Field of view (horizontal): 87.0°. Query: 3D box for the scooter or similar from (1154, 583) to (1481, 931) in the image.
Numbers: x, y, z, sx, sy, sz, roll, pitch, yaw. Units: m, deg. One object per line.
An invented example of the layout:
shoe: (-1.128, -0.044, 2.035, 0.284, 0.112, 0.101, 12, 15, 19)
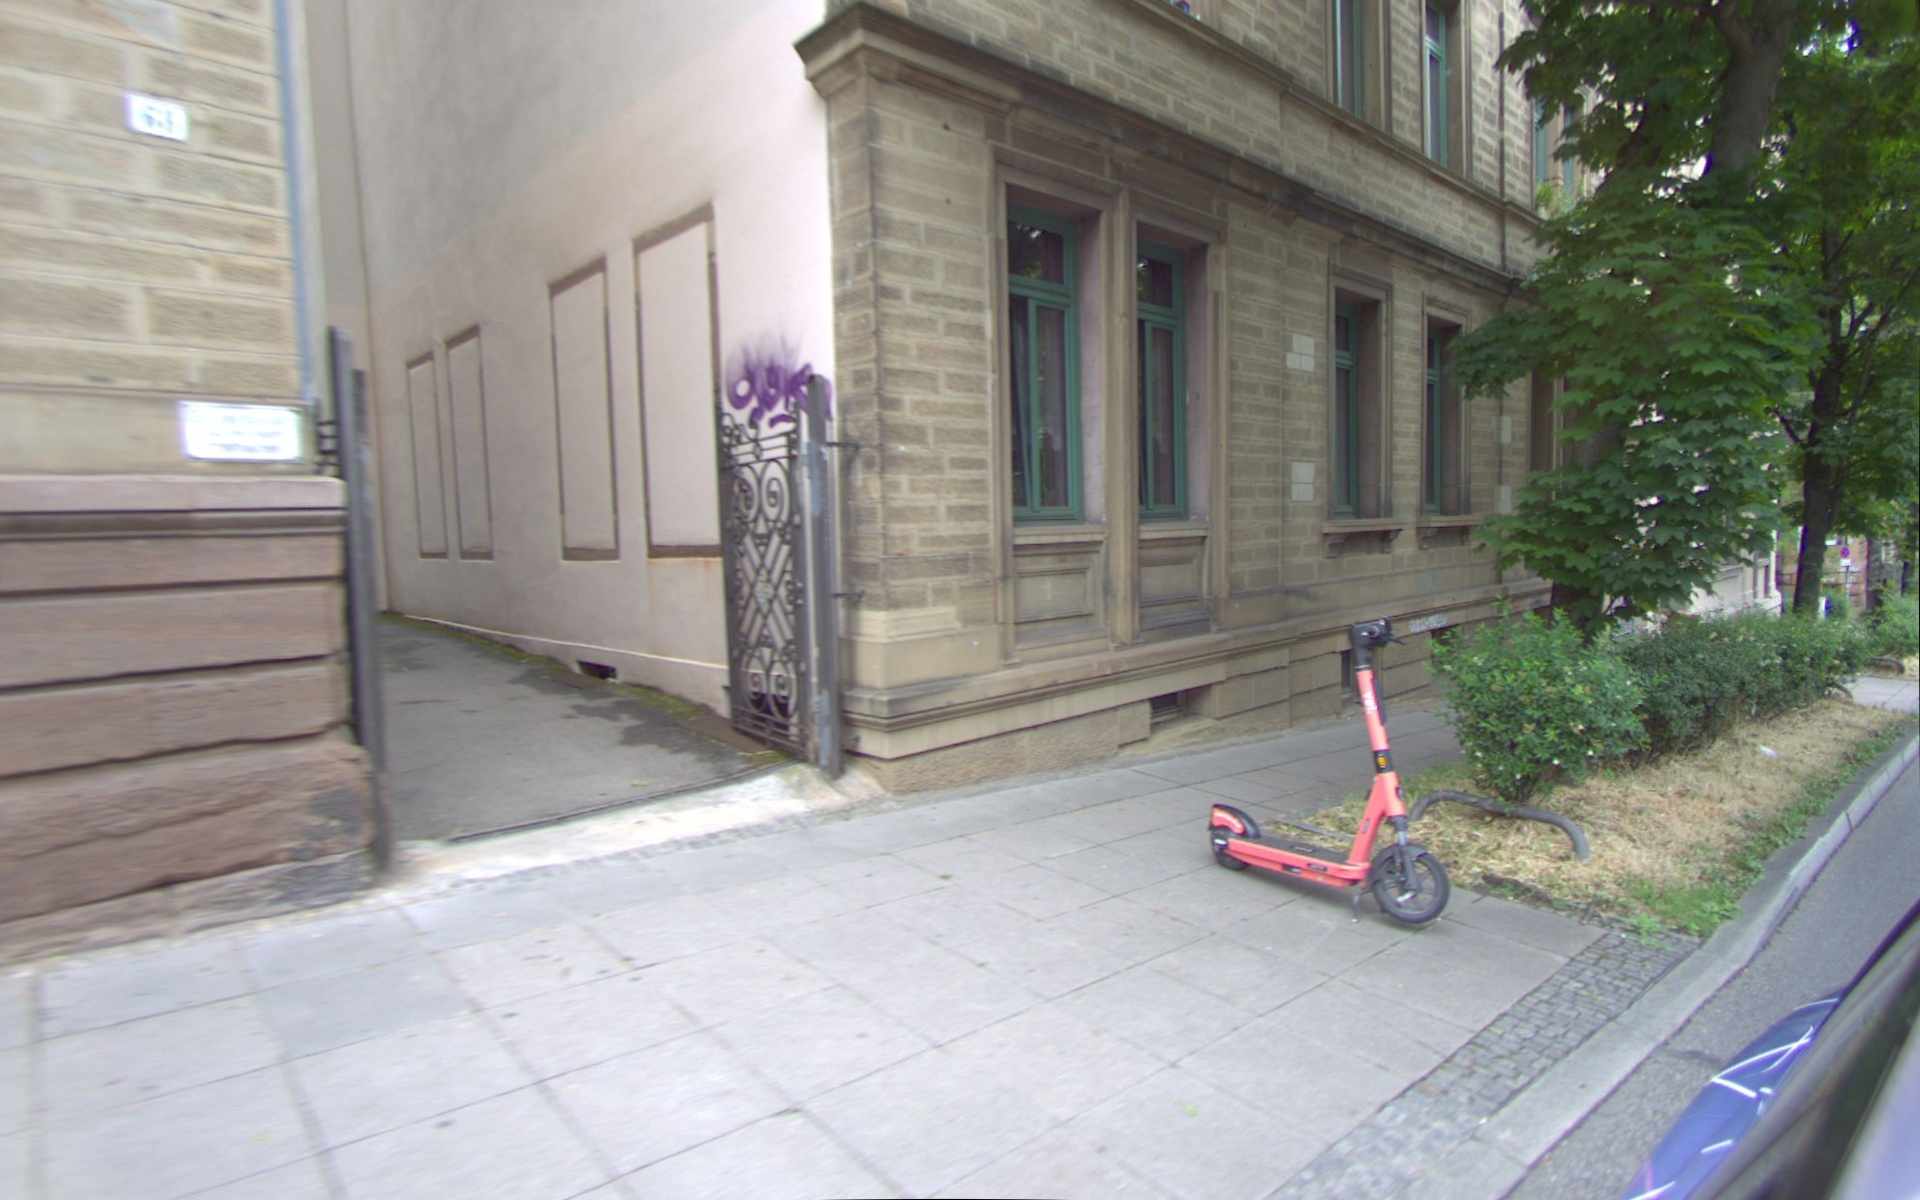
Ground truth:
scooter or similar: (1.607, 0.616, 4.624, 1.194, 1.288, 0.621, 6, 5, 39)

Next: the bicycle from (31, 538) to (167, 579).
bicycle: (-15.666, -0.746, 18.459, 1.853, 0.701, 0.575, -1, 1, -42)
